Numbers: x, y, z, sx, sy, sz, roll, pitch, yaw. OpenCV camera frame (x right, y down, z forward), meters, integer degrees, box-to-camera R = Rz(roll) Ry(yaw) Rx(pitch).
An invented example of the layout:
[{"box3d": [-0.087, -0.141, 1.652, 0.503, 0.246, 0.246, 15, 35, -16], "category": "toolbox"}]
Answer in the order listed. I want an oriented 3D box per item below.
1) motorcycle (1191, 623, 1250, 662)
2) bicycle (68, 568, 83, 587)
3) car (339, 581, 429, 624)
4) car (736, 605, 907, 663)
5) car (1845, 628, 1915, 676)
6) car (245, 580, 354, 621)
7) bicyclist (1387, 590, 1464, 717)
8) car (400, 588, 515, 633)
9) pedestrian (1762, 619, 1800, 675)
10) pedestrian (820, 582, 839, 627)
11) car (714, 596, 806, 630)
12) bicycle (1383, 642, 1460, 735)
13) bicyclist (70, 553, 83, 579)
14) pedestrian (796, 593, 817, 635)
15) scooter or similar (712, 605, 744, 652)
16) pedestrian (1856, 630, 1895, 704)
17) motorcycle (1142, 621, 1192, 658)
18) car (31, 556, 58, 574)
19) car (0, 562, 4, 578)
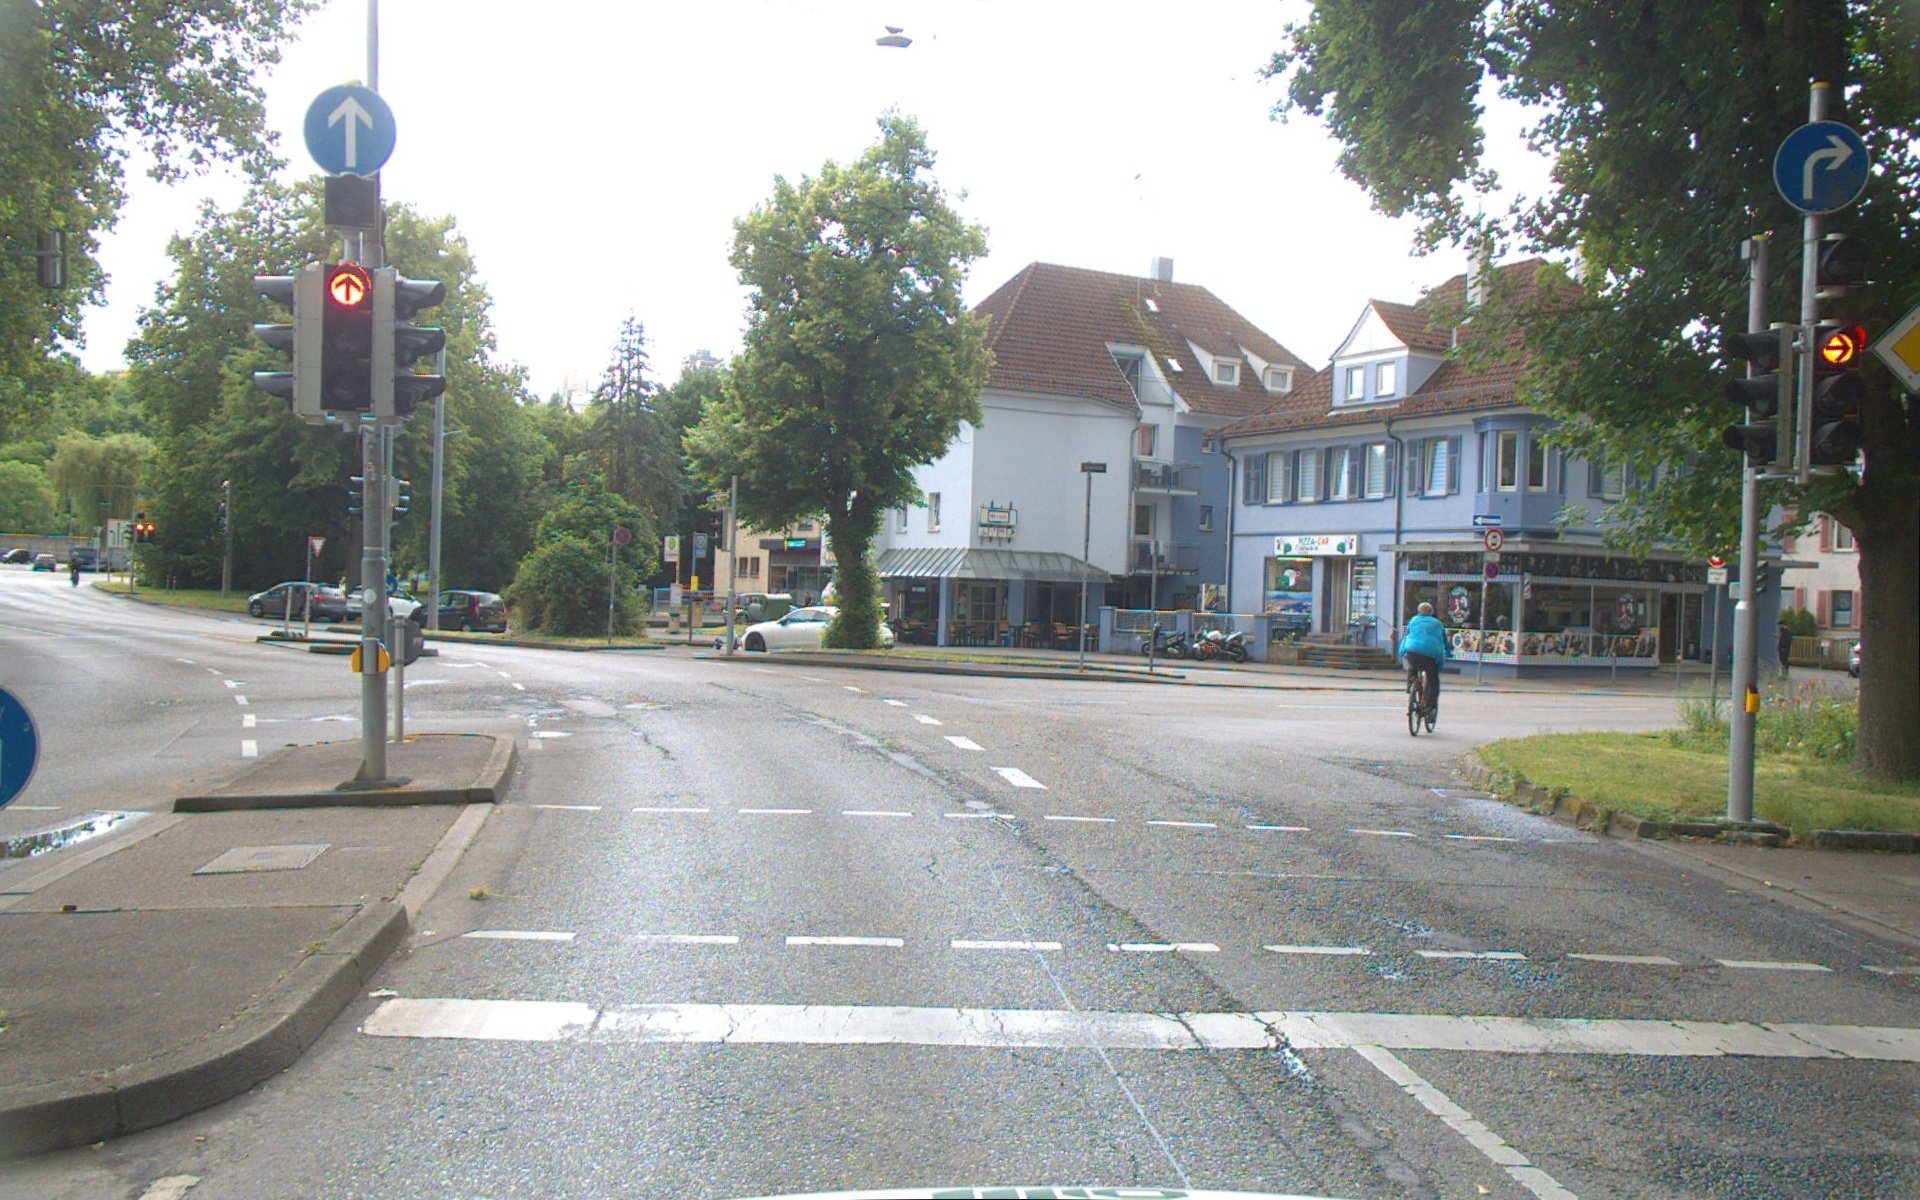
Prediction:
[{"box3d": [7.758, 1.259, 49.287, 1.595, 1.107, 0.626, 1, 0, 31], "category": "motorcycle"}, {"box3d": [-46.705, -1.189, 87.339, 0.550, 0.975, 2.011, 1, 0, -31], "category": "bicycle"}, {"box3d": [-23.284, 0.108, 66.970, 1.821, 1.668, 3.757, 1, 0, 10], "category": "car"}, {"box3d": [-3.920, 0.931, 46.412, 4.618, 1.435, 1.896, 1, 0, 34], "category": "car"}, {"box3d": [29.263, 1.629, 52.695, 1.849, 1.415, 3.609, 1, 0, 28], "category": "car"}, {"box3d": [-25.536, 0.005, 63.969, 3.694, 1.491, 1.622, 1, 0, 17], "category": "car"}, {"box3d": [6.427, 0.718, 22.814, 0.896, 1.680, 0.988, 1, 0, 22], "category": "bicyclist"}, {"box3d": [-16.362, 0.328, 53.887, 3.252, 1.376, 1.779, 1, 0, 26], "category": "car"}, {"box3d": [23.523, 1.350, 47.397, 0.659, 1.587, 0.743, 1, -1, -16], "category": "pedestrian"}, {"box3d": [-4.724, 0.167, 59.843, 0.531, 1.587, 0.468, 0, -1, 12], "category": "pedestrian"}, {"box3d": [-9.205, 0.585, 76.163, 3.881, 1.467, 1.742, 1, 0, -21], "category": "car"}, {"box3d": [6.434, 1.201, 22.978, 0.855, 1.169, 1.953, 1, 0, 20], "category": "bicycle"}, {"box3d": [-46.653, -1.808, 87.294, 0.534, 1.365, 0.706, 1, 0, -32], "category": "bicyclist"}, {"box3d": [-7.565, 0.666, 81.660, 0.823, 2.049, 1.052, 1, 0, -15], "category": "pedestrian"}, {"box3d": [-6.063, 0.742, 43.219, 0.433, 1.195, 1.439, 1, 0, 8], "category": "scooter or similar"}, {"box3d": [20.093, 1.460, 36.296, 0.717, 1.587, 0.767, 1, -1, 30], "category": "pedestrian"}, {"box3d": [6.390, 1.203, 51.025, 1.430, 1.107, 0.522, 1, 0, 35], "category": "motorcycle"}, {"box3d": [-89.299, -3.417, 161.305, 1.975, 1.624, 3.955, 1, -1, -32], "category": "car"}, {"box3d": [-90.196, -2.833, 153.566, 2.971, 1.442, 1.492, 1, -2, 40], "category": "car"}]
